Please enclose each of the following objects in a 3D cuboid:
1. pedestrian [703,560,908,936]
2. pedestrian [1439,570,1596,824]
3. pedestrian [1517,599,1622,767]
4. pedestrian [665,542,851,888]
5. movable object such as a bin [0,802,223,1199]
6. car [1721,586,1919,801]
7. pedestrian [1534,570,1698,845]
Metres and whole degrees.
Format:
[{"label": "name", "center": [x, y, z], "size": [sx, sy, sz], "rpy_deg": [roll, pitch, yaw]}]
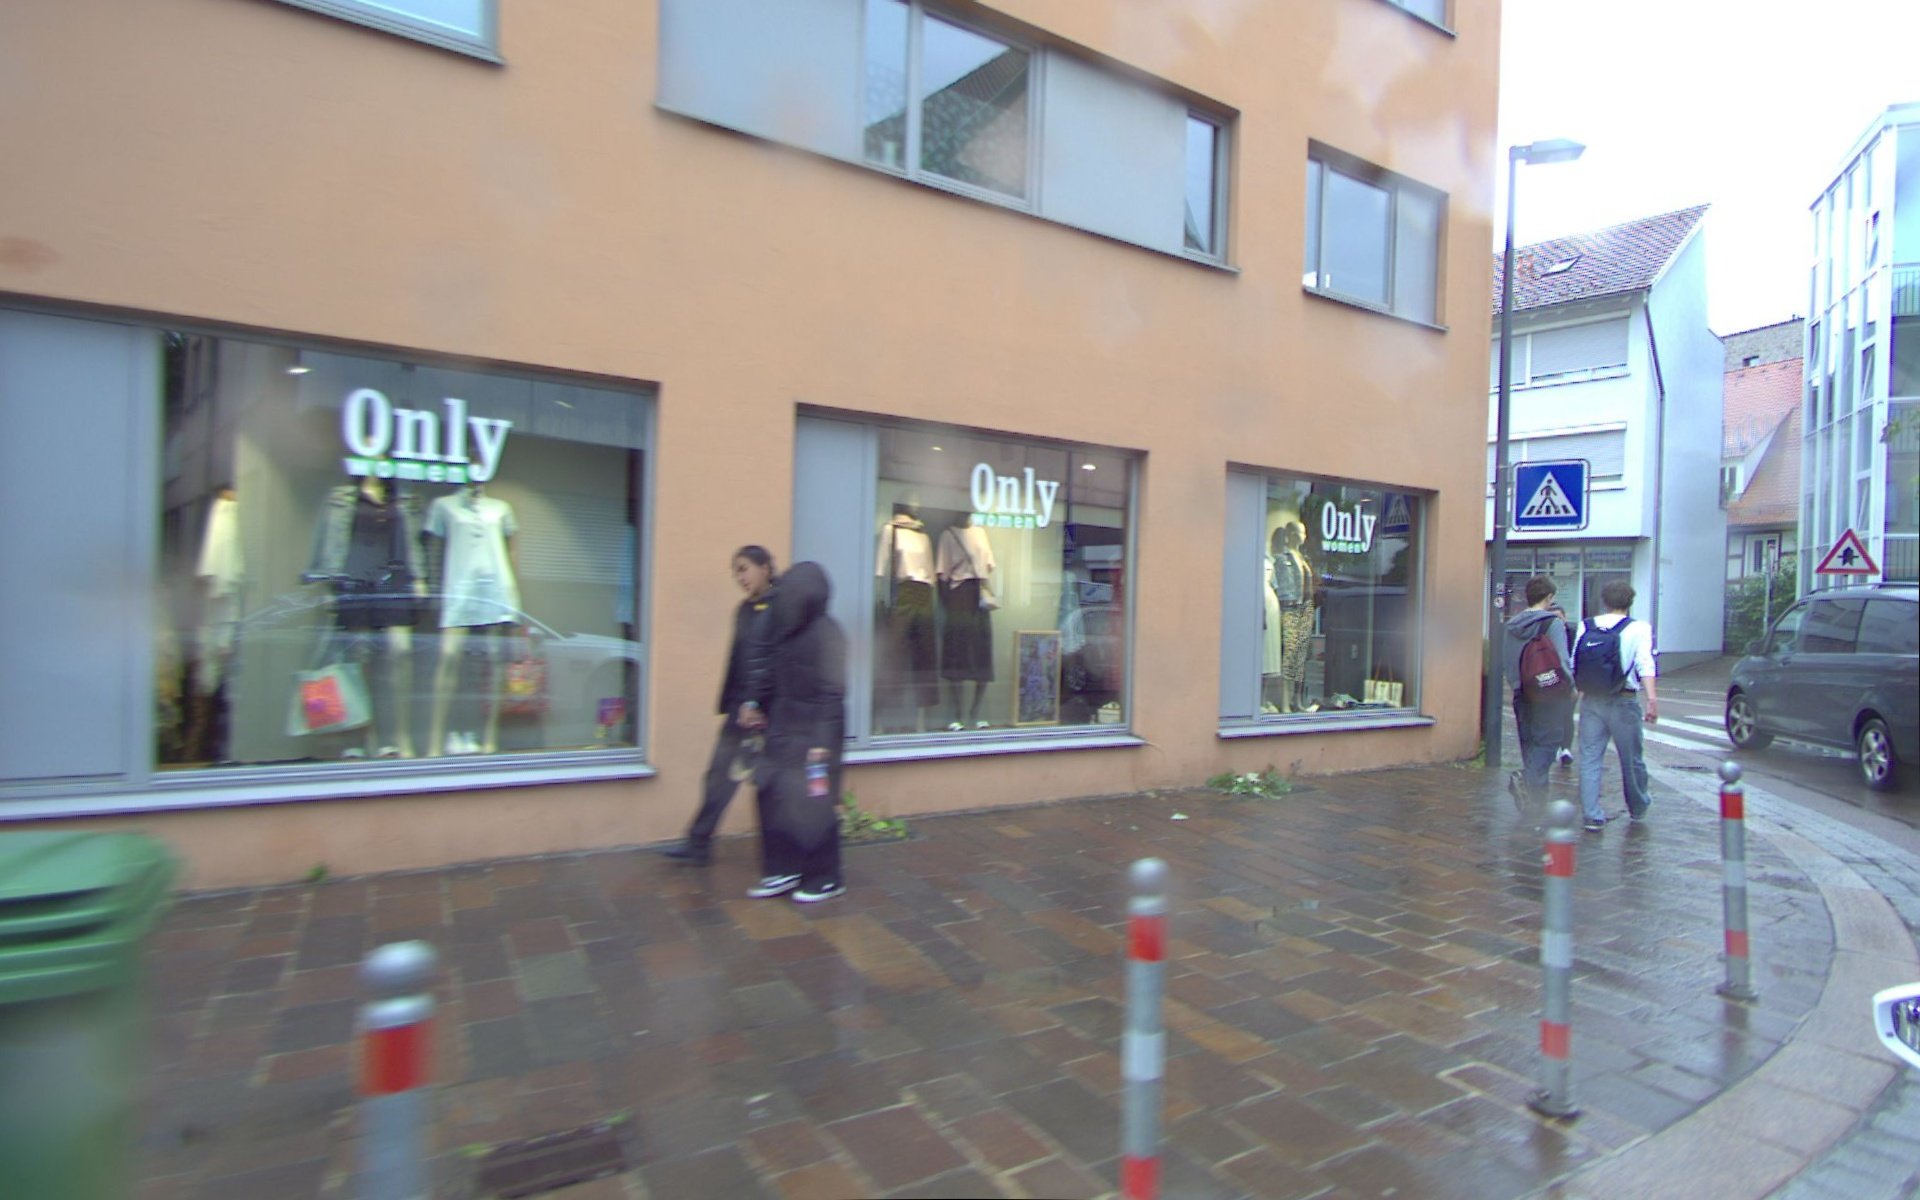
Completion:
[{"label": "pedestrian", "center": [-0.770, 0.654, 4.911], "size": [0.736, 1.661, 0.711], "rpy_deg": [2, 1, -29]}, {"label": "pedestrian", "center": [4.349, 0.713, 7.830], "size": [1.049, 1.824, 0.687], "rpy_deg": [2, -1, -38]}, {"label": "pedestrian", "center": [6.208, 0.815, 10.235], "size": [0.676, 1.631, 0.656], "rpy_deg": [1, 0, -32]}, {"label": "pedestrian", "center": [-1.113, 0.580, 5.493], "size": [0.799, 1.735, 0.619], "rpy_deg": [2, 1, -29]}, {"label": "movable object such as a bin", "center": [-1.512, 0.897, 1.477], "size": [0.603, 1.050, 0.653], "rpy_deg": [1, -2, -31]}, {"label": "car", "center": [9.763, 0.800, 10.272], "size": [1.915, 1.805, 4.725], "rpy_deg": [1, 1, 22]}, {"label": "pedestrian", "center": [4.750, 0.731, 7.269], "size": [1.051, 1.830, 0.658], "rpy_deg": [2, -1, -37]}]
